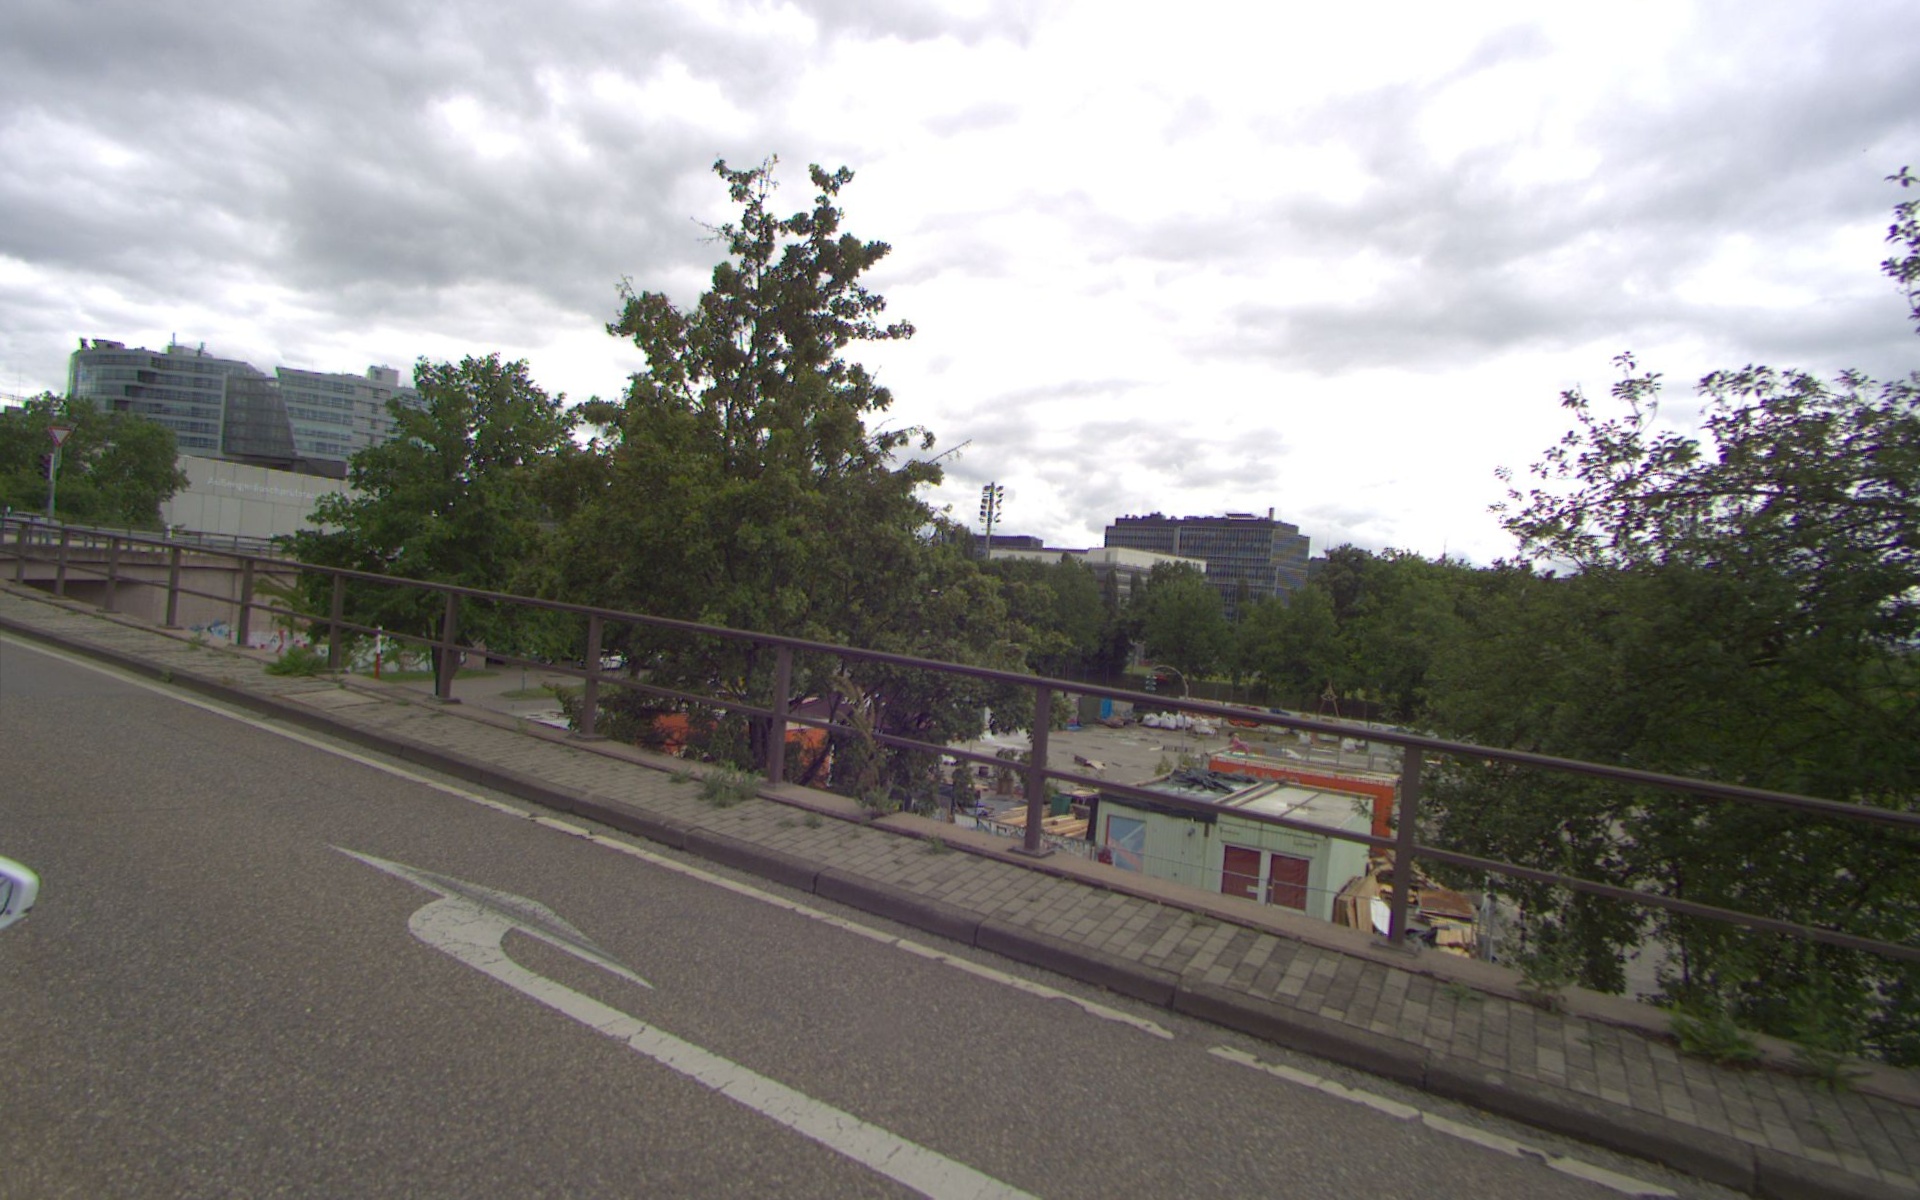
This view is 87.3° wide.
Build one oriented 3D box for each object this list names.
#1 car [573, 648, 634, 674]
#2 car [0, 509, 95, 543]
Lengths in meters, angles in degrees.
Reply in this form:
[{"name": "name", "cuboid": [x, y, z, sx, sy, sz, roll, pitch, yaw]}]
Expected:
[{"name": "car", "cuboid": [-25.293, 4.323, 71.530, 1.821, 1.482, 3.657, 6, -2, 31]}, {"name": "car", "cuboid": [-58.755, -4.758, 64.659, 1.970, 1.590, 4.371, 4, -2, 36]}]
